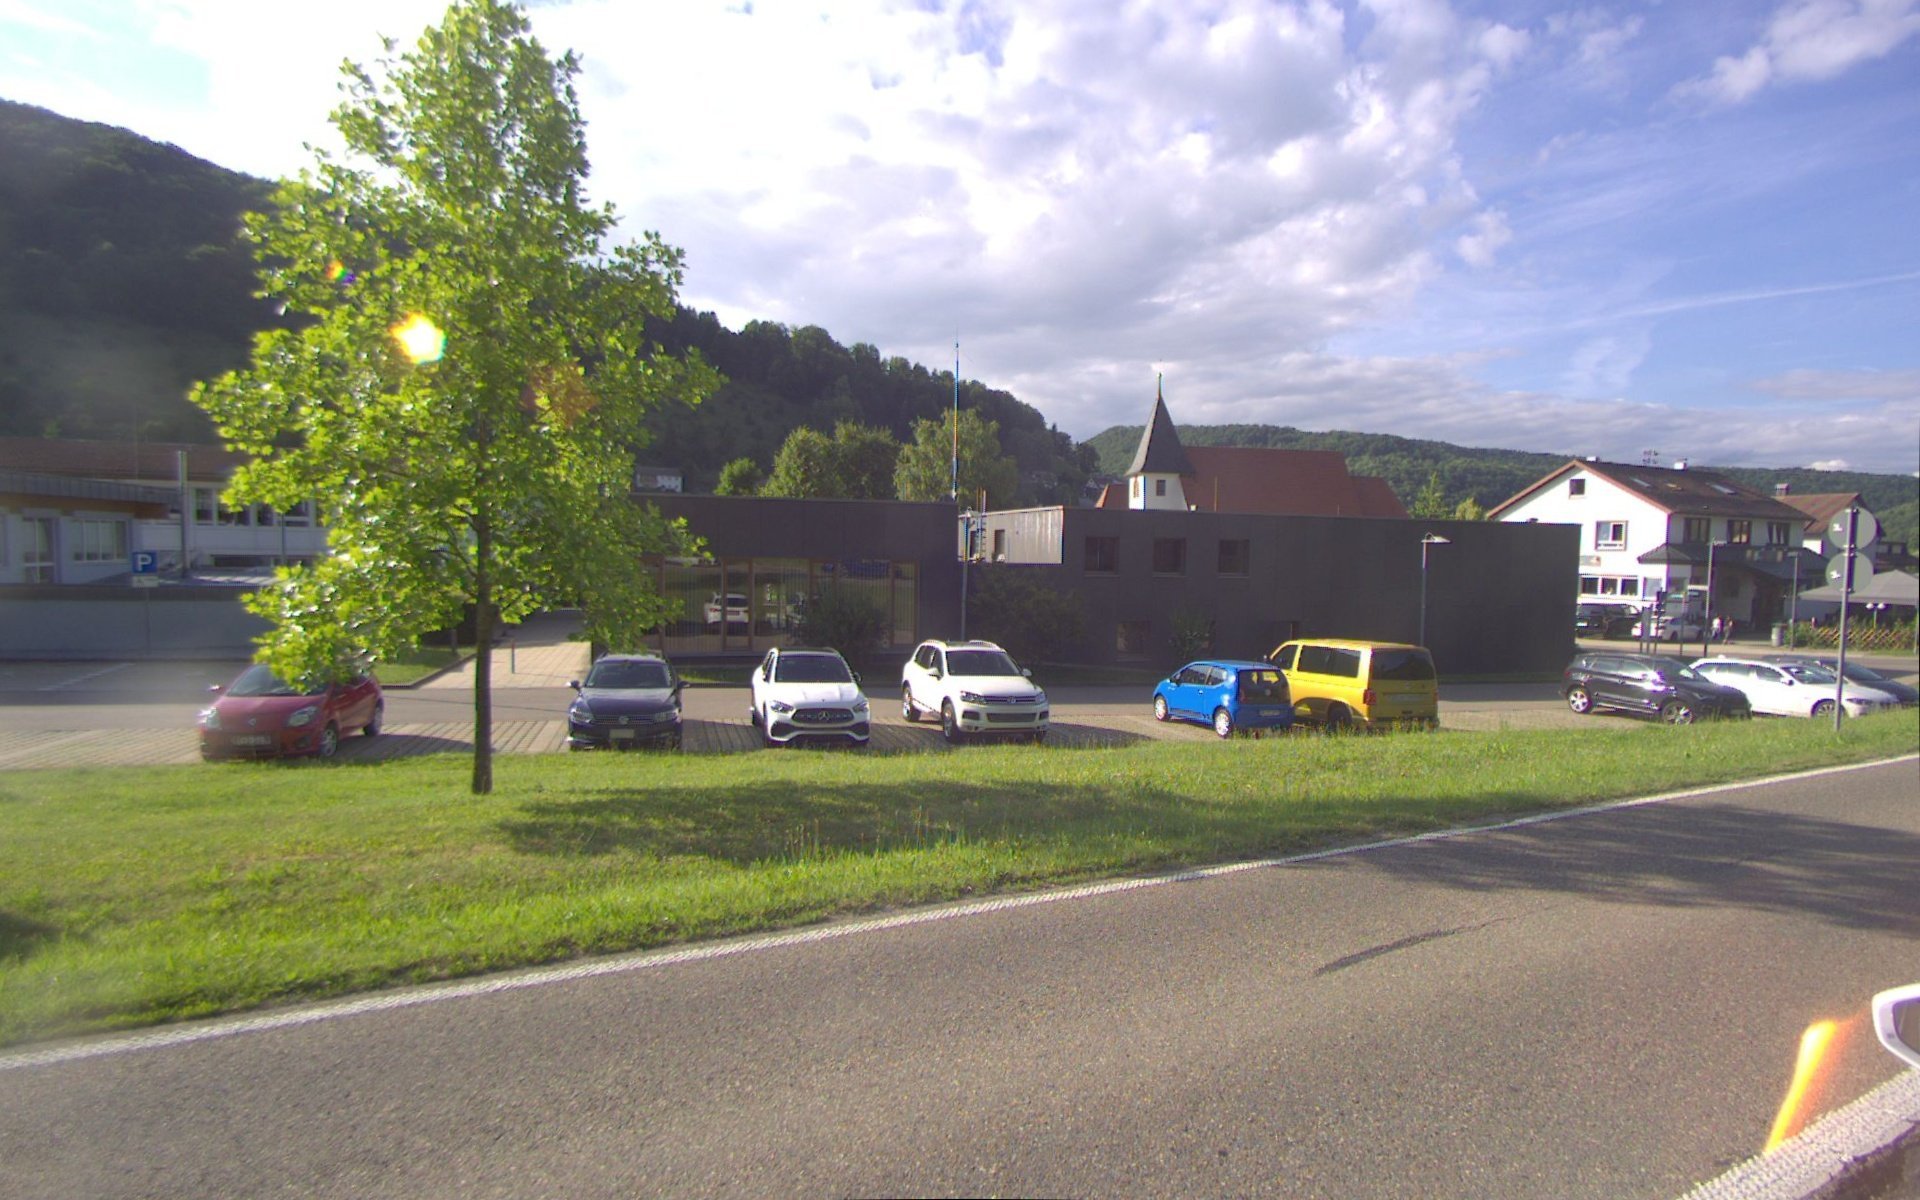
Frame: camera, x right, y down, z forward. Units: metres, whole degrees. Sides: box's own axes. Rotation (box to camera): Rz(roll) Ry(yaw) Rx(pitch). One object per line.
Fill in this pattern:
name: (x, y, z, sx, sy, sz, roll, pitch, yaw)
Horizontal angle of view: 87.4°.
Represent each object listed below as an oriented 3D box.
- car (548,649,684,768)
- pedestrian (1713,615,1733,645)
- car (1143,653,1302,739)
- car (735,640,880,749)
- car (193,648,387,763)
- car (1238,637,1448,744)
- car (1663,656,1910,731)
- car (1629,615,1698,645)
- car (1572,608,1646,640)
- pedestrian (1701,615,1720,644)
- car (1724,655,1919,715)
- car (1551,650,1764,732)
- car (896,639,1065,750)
car: (-6.055, 1.798, 17.883, 1.968, 1.575, 4.535, 2, 0, -18)
pedestrian: (39.604, 1.560, 52.147, 0.583, 1.523, 0.605, 2, 0, -30)
car: (5.594, 2.021, 21.803, 1.608, 1.492, 3.488, 2, 0, -20)
car: (-3.007, 1.673, 18.937, 1.968, 1.575, 4.535, 2, 0, -18)
car: (-10.576, 1.592, 16.140, 1.590, 1.416, 3.718, 2, 0, -18)
car: (8.223, 1.873, 22.104, 1.966, 1.893, 4.611, 2, 0, -14)
car: (21.738, 2.403, 26.712, 1.851, 1.513, 4.810, 2, 0, -18)
car: (37.746, 1.622, 53.876, 3.954, 1.469, 1.548, 2, 0, -31)
car: (36.063, 1.346, 55.841, 3.954, 1.684, 1.877, 2, 0, -31)
pedestrian: (39.477, 1.555, 52.843, 0.583, 1.523, 0.605, 2, 0, -30)
car: (24.276, 2.338, 28.344, 1.735, 1.327, 3.979, 2, 0, -22)
car: (17.424, 2.219, 25.322, 1.969, 1.659, 4.022, 2, 0, -18)
car: (0.251, 1.756, 19.980, 1.968, 1.725, 4.535, 2, 0, -18)
